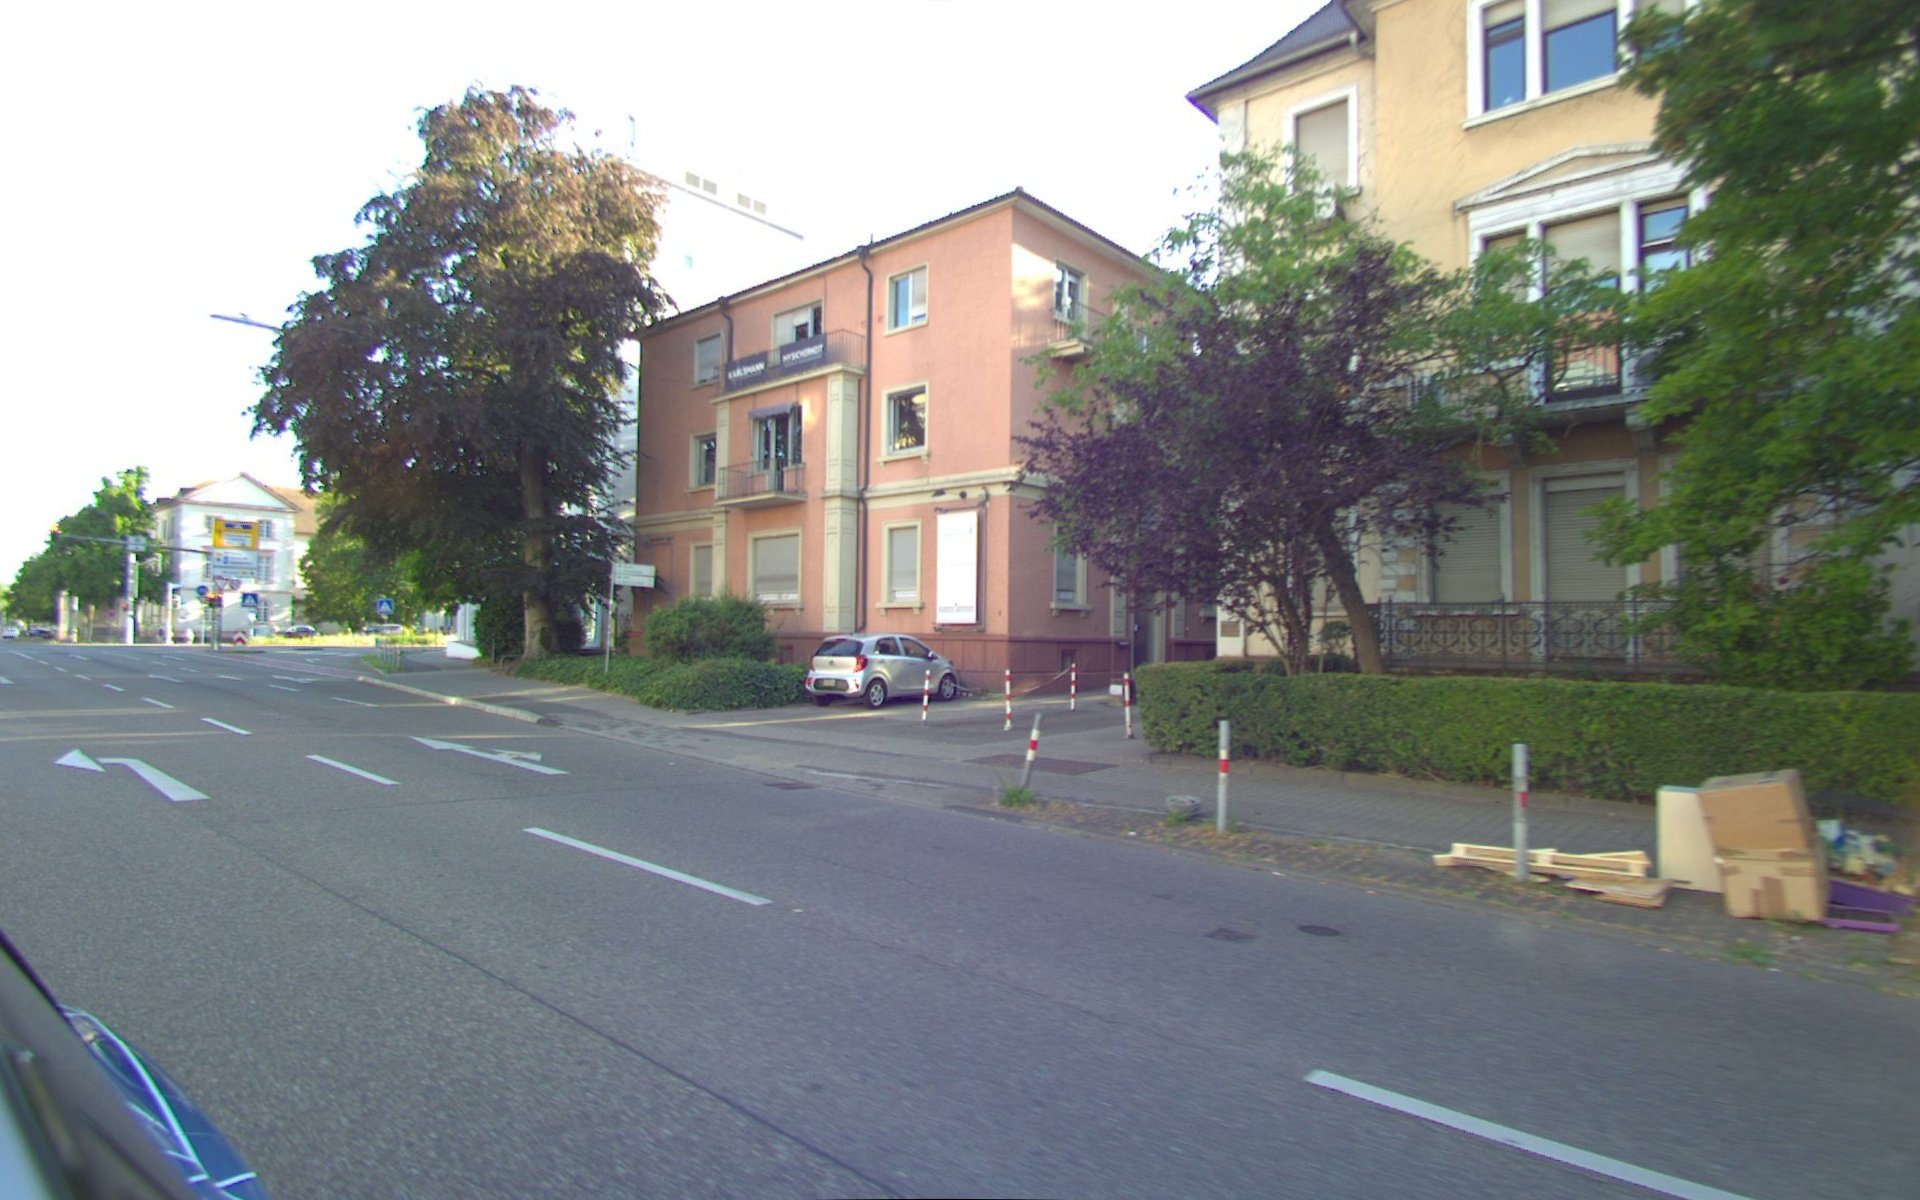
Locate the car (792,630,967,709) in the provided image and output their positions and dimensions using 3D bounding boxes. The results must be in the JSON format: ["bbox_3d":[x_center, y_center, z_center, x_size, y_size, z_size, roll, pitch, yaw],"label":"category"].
[{"bbox_3d":[-1.621,1.411,21.229,1.813,1.497,3.464,-2,-3,38],"label":"car"}]

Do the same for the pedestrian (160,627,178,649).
[{"bbox_3d":[-67.087,3.195,85.789,1.166,1.863,0.811,-1,-3,33],"label":"pedestrian"}]

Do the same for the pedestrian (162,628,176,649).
[{"bbox_3d":[-63.874,3.080,81.712,0.887,1.663,0.614,-1,-3,33],"label":"pedestrian"}]

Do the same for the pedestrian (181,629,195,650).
[{"bbox_3d":[-63.034,3.208,82.632,0.880,1.663,0.671,-1,-3,33],"label":"pedestrian"}]

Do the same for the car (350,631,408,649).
[{"bbox_3d":[-47.032,3.229,82.010,1.997,1.457,3.601,-2,-3,37],"label":"car"}]

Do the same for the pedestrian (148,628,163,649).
[{"bbox_3d":[-67.546,3.238,84.946,1.081,1.721,0.671,-1,-3,33],"label":"pedestrian"}]

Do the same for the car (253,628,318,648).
[{"bbox_3d":[-50.825,2.866,76.270,1.997,1.457,3.601,-2,-3,37],"label":"car"}]
